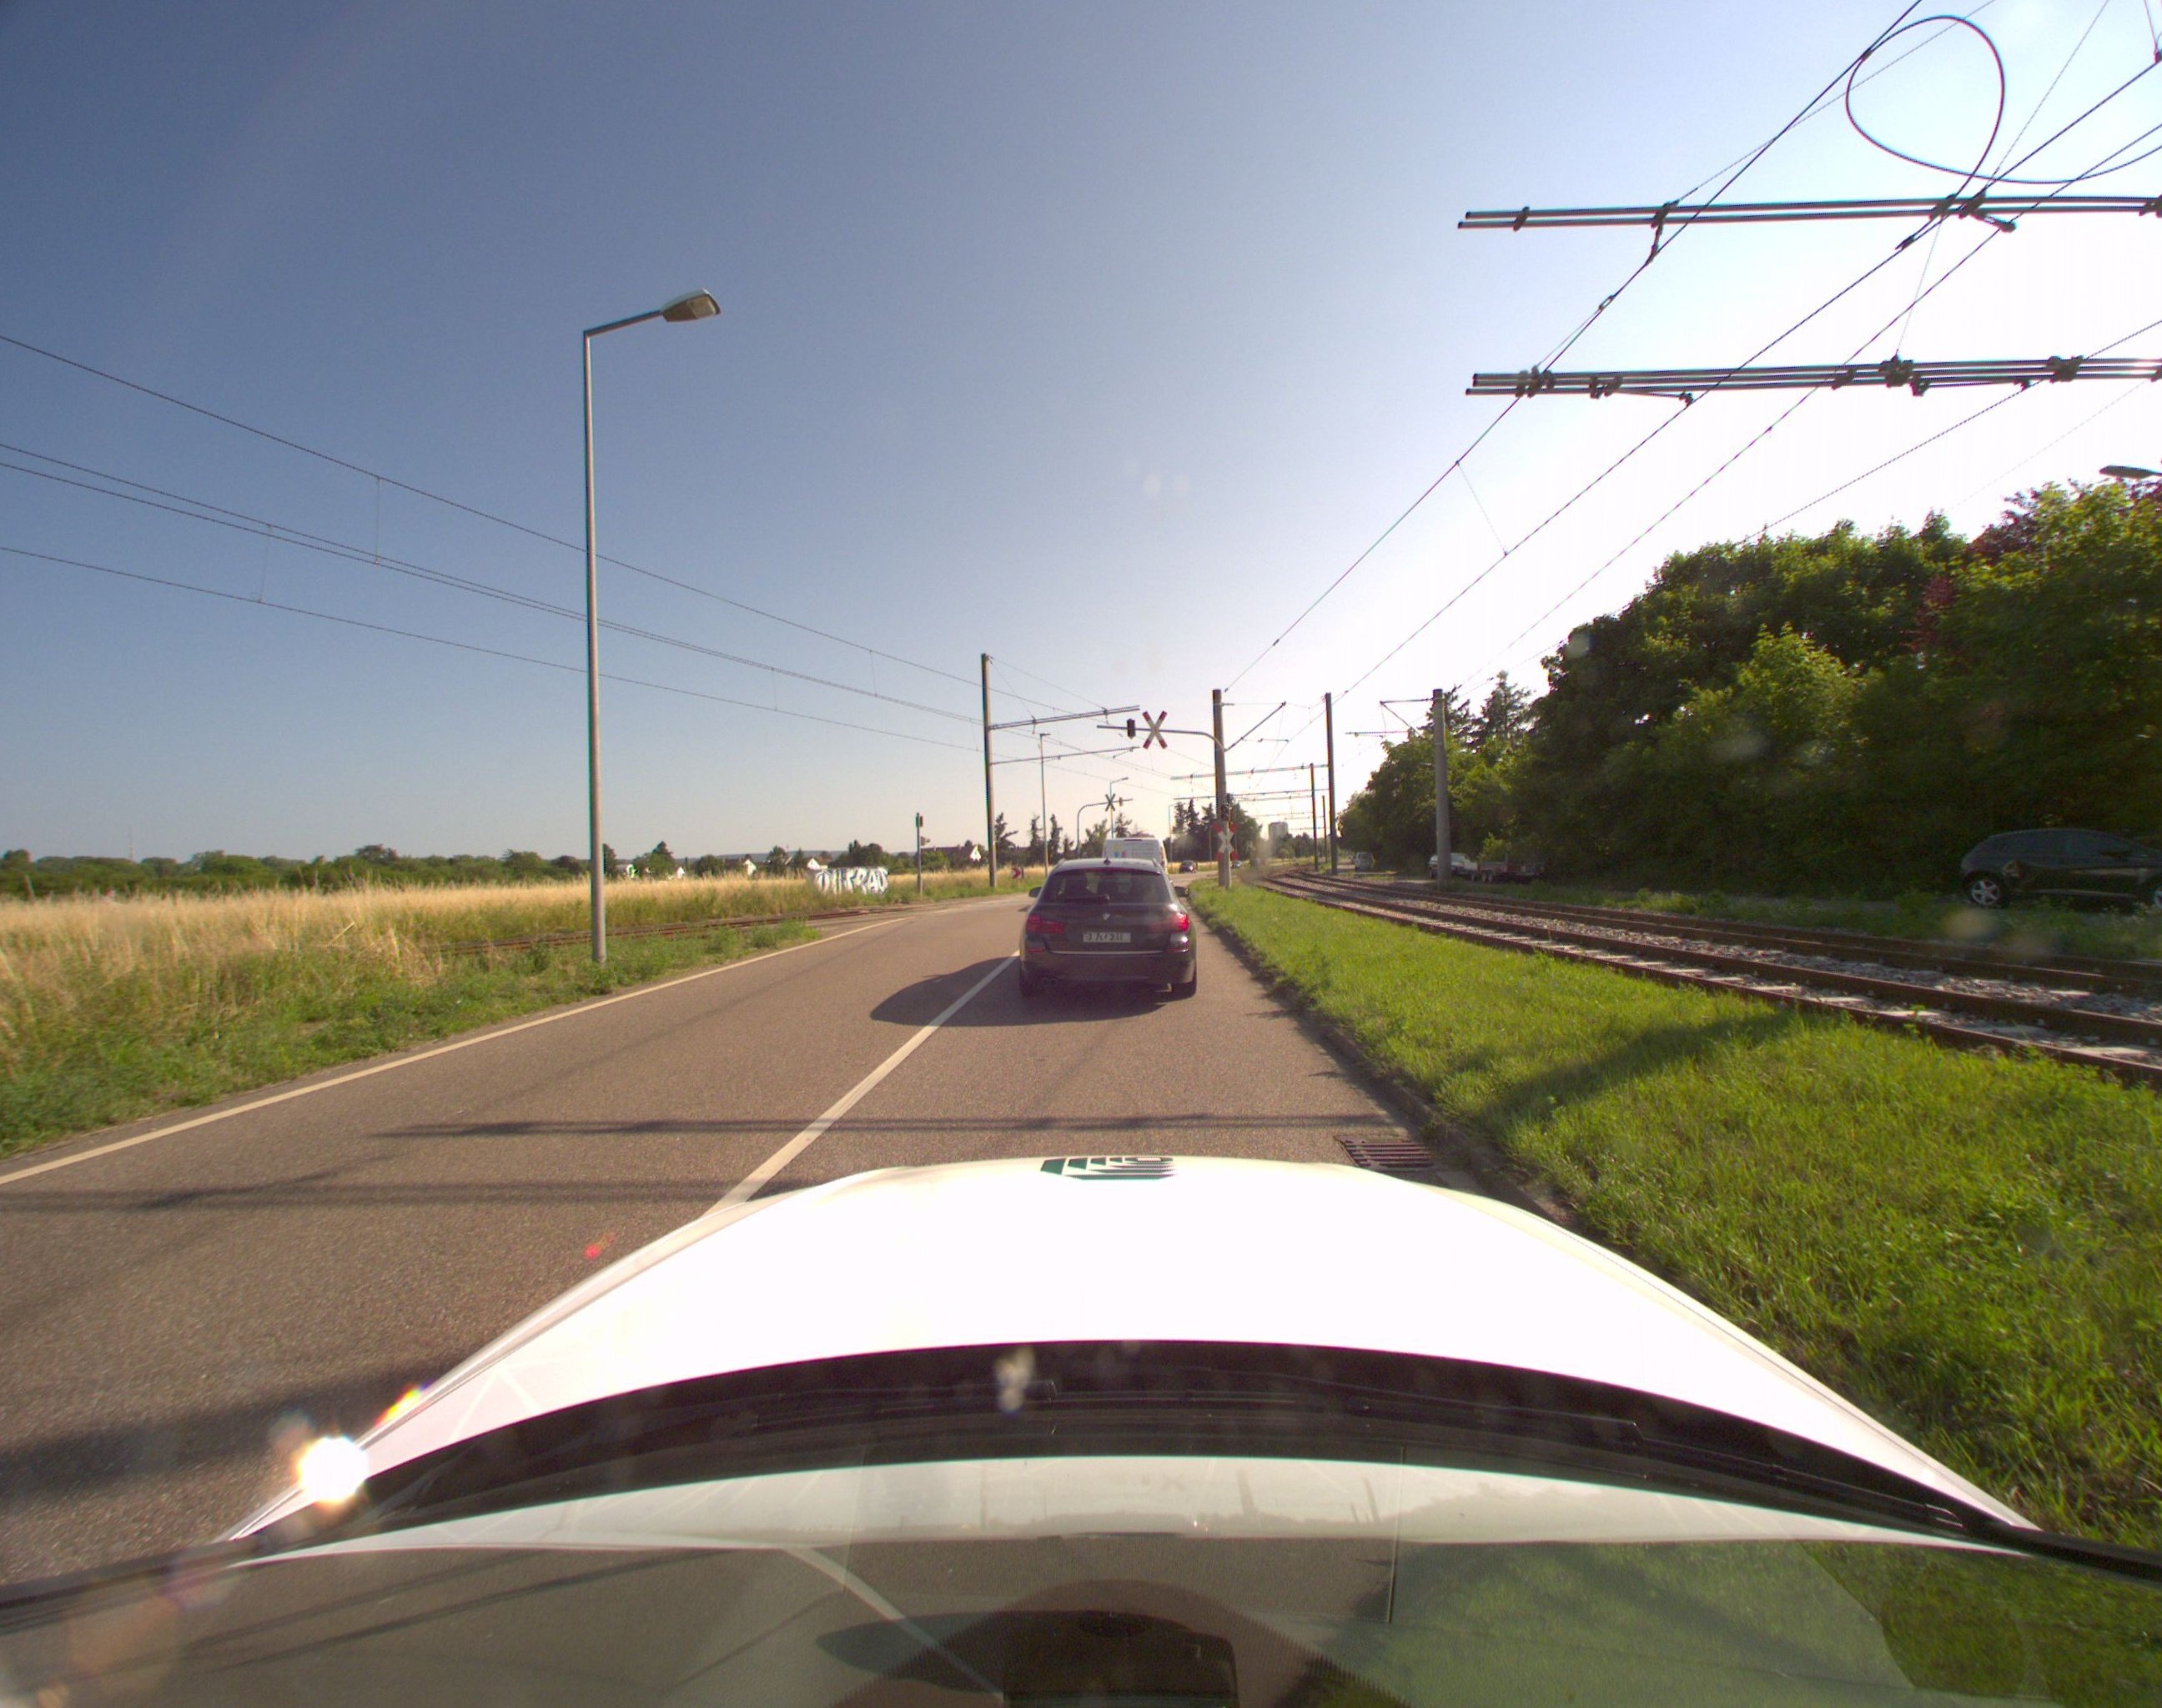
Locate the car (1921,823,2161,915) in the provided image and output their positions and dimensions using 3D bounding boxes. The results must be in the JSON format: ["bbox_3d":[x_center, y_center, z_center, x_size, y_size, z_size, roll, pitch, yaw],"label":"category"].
[{"bbox_3d":[17.316,0.233,13.748,1.617,1.410,4.521,-1,-1,0],"label":"car"}]

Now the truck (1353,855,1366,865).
[{"bbox_3d":[55.772,1.256,163.158,2.187,1.819,5.956,-2,-1,18],"label":"truck"}]

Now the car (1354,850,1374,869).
[{"bbox_3d":[31.637,0.647,91.223,1.978,2.004,5.089,1,0,17],"label":"car"}]

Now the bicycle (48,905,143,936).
[{"bbox_3d":[-30.714,2.051,25.410,0.743,0.839,1.746,-2,-1,25],"label":"bicycle"}]

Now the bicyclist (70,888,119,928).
[{"bbox_3d":[-30.742,1.669,25.385,0.738,1.205,0.794,-2,-1,24],"label":"bicyclist"}]

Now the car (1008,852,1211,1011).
[{"bbox_3d":[0.330,0.720,9.990,1.862,1.452,4.745,-1,0,1],"label":"car"}]

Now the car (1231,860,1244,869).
[{"bbox_3d":[26.428,1.827,137.621,1.679,1.439,4.303,-1,0,18],"label":"car"}]

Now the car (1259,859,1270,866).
[{"bbox_3d":[40.880,1.876,181.369,1.698,1.549,3.949,-2,-1,21],"label":"car"}]

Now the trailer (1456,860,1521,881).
[{"bbox_3d":[19.356,0.757,38.824,1.721,0.939,3.737,1,0,9],"label":"trailer"}]

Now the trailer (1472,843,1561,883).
[{"bbox_3d":[18.518,0.384,34.853,2.015,1.596,4.269,0,0,8],"label":"trailer"}]

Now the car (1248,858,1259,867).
[{"bbox_3d":[34.966,1.768,165.383,1.693,1.665,4.610,-2,-1,17],"label":"car"}]

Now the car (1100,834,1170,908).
[{"bbox_3d":[1.749,0.488,24.762,1.848,1.988,5.117,-1,0,7],"label":"car"}]

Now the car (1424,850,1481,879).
[{"bbox_3d":[19.792,0.537,43.589,1.687,1.456,4.896,1,0,11],"label":"car"}]
